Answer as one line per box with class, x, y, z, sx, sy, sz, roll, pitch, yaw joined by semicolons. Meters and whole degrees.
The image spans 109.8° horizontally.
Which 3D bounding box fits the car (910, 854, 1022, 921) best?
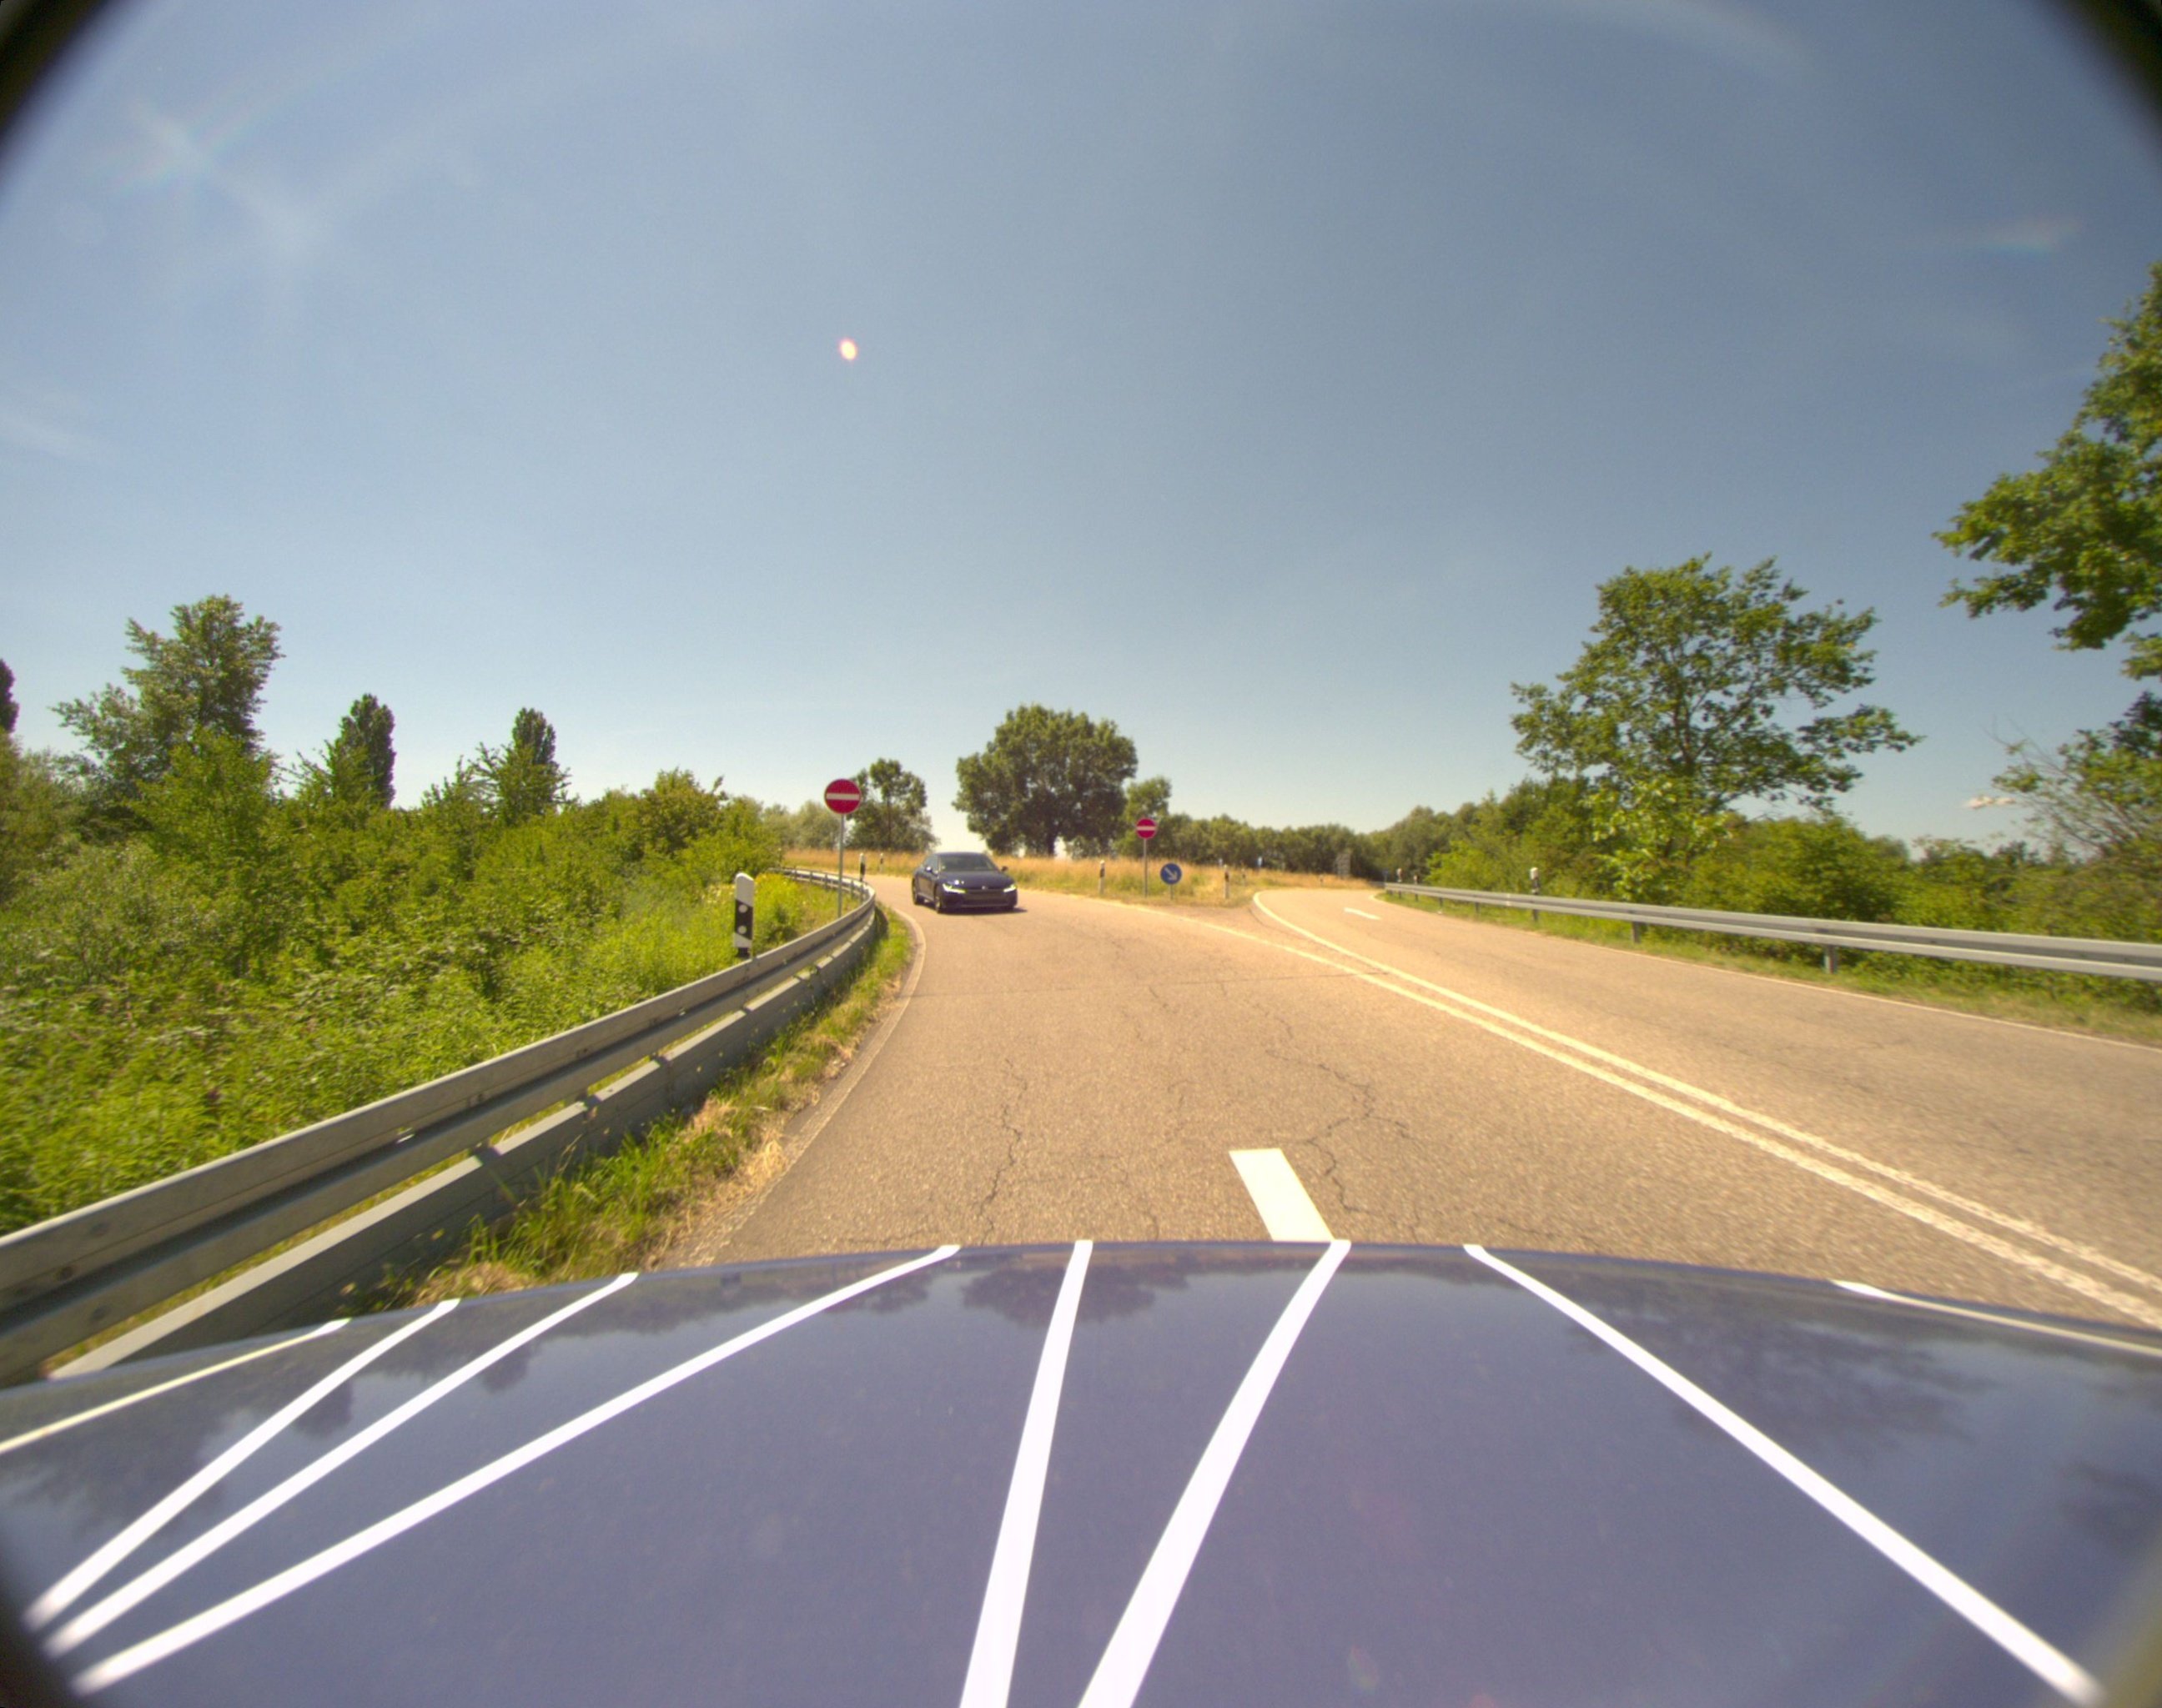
car;-3.044;0.730;19.226;1.846;1.422;4.525;-1;1;-21
